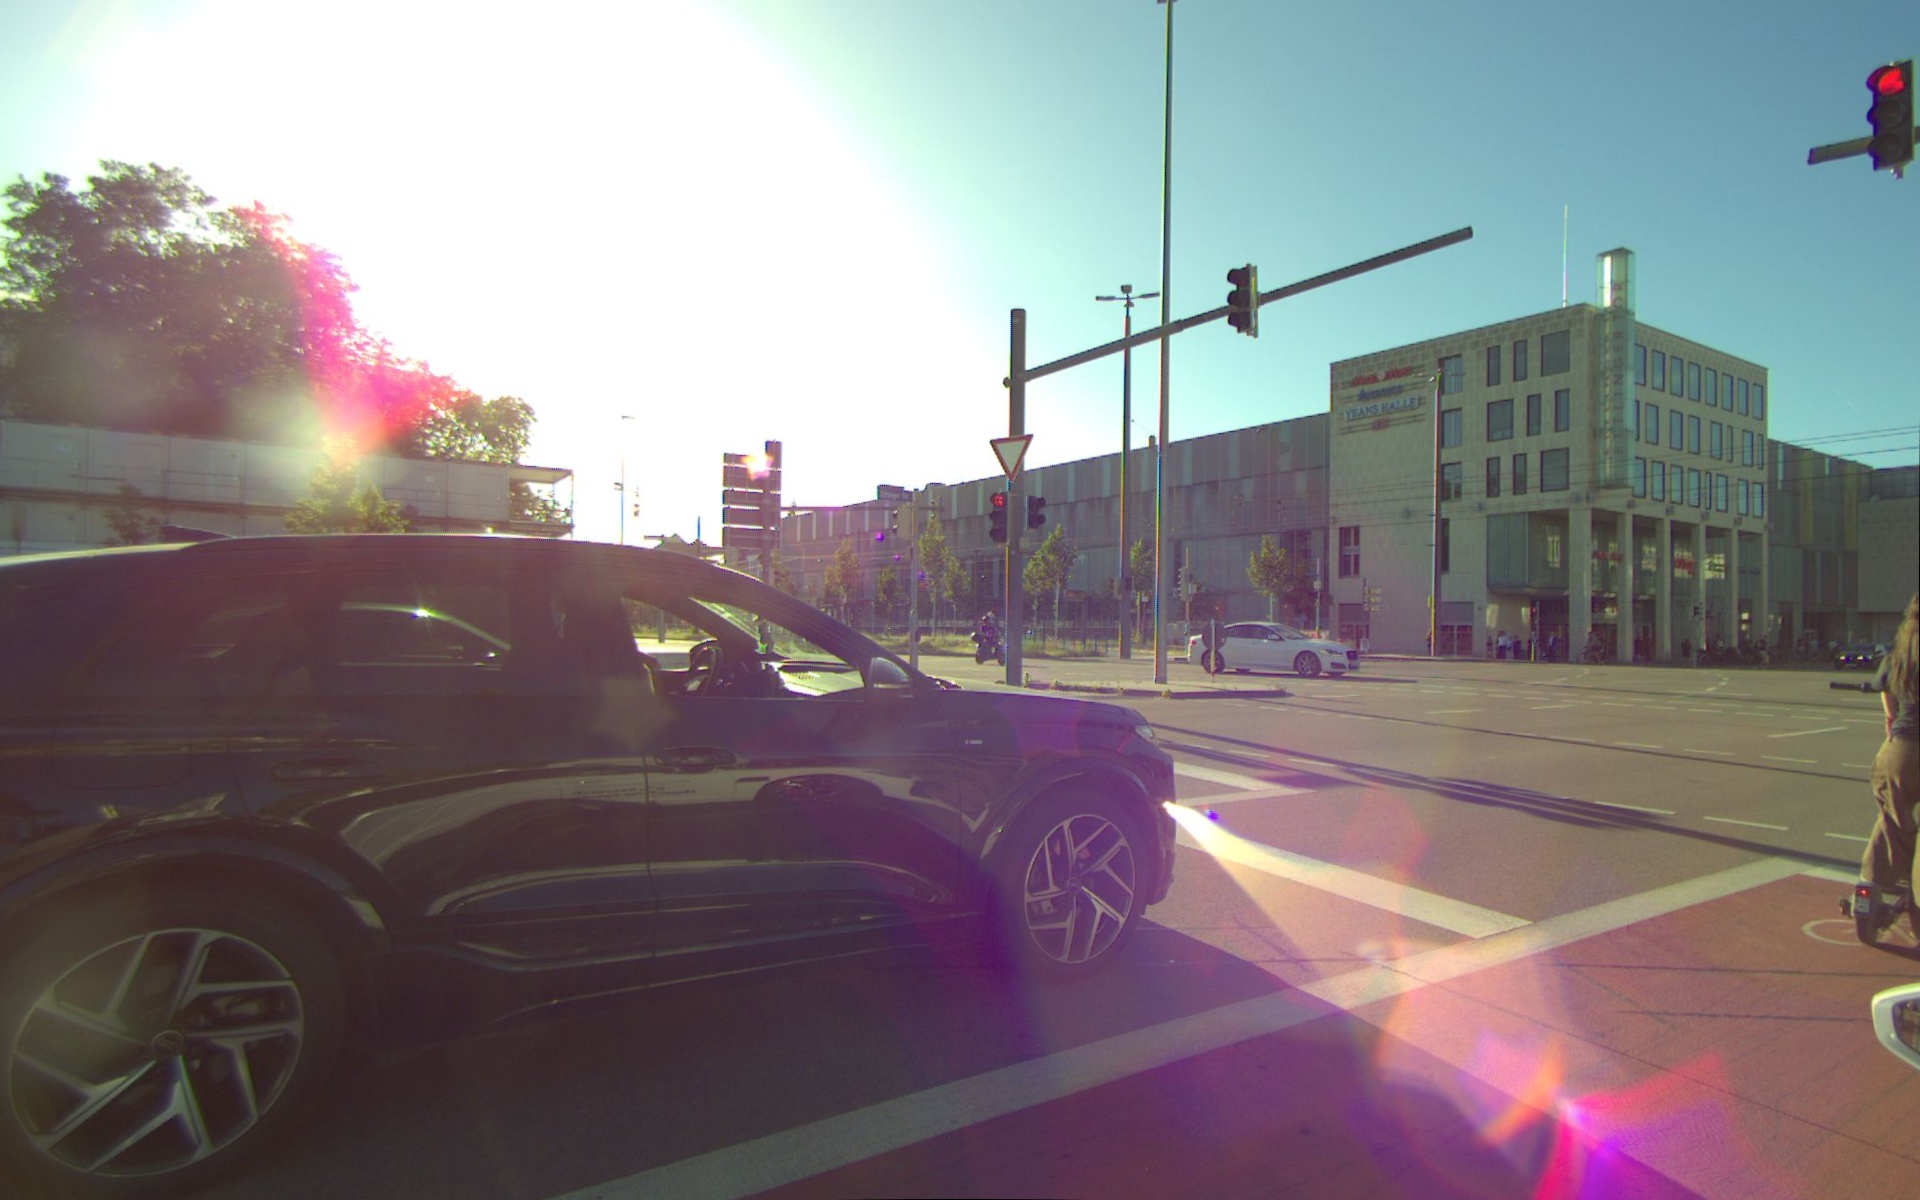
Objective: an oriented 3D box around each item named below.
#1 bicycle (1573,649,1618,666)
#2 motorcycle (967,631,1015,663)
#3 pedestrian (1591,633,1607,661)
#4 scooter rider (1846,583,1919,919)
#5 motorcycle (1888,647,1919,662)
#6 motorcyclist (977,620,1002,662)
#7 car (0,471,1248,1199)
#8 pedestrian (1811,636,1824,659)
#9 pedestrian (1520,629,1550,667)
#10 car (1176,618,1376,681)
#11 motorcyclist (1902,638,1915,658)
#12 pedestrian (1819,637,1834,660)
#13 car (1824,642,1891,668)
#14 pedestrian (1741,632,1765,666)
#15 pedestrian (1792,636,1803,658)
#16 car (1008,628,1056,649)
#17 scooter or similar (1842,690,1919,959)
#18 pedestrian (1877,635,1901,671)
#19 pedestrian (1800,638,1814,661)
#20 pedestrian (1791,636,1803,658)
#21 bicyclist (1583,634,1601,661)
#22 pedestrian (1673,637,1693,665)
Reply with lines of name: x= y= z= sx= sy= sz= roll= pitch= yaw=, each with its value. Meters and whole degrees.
bicycle: x=35.286 y=3.184 z=55.744 sx=2.176 sy=0.915 sz=0.637 roll=1 pitch=-1 yaw=-5
motorcycle: x=1.107 y=1.685 z=36.355 sx=0.643 sy=1.115 sz=1.940 roll=1 pitch=-1 yaw=-37
pedestrian: x=37.849 y=2.787 z=59.469 sx=0.622 sy=1.667 sz=0.589 roll=1 pitch=-1 yaw=-30
scooter rider: x=4.624 y=0.700 z=4.771 sx=0.445 sy=1.550 sz=0.548 roll=1 pitch=-1 yaw=-38
motorcycle: x=70.839 y=4.091 z=74.646 sx=1.106 sy=1.006 sz=2.582 roll=2 pitch=0 yaw=-38
motorcyclist: x=1.070 y=1.491 z=36.397 sx=0.594 sy=1.499 sz=0.744 roll=1 pitch=-1 yaw=-37
car: x=-1.256 y=0.610 z=4.078 sx=4.613 sy=1.729 sz=2.153 roll=1 pitch=0 yaw=-32
pedestrian: x=67.507 y=3.740 z=79.071 sx=0.616 sy=1.752 sz=0.471 roll=2 pitch=0 yaw=-1
pedestrian: x=26.170 y=2.189 z=45.693 sx=0.994 sy=1.697 sz=0.818 roll=1 pitch=-1 yaw=-33
car: x=8.721 y=1.307 z=28.108 sx=1.986 sy=1.585 sz=5.034 roll=2 pitch=-2 yaw=-44
motorcyclist: x=70.803 y=3.566 z=74.982 sx=0.657 sy=1.424 sz=0.623 roll=2 pitch=0 yaw=-38
pedestrian: x=66.475 y=3.699 z=77.062 sx=0.681 sy=1.752 sz=0.472 roll=2 pitch=0 yaw=9
car: x=49.609 y=3.013 z=55.503 sx=3.975 sy=1.375 sz=1.668 roll=1 pitch=-1 yaw=-31
pedestrian: x=44.066 y=2.703 z=55.829 sx=0.529 sy=1.889 sz=0.943 roll=1 pitch=-1 yaw=-13
pedestrian: x=66.776 y=3.723 z=80.090 sx=0.510 sy=1.752 sz=0.472 roll=2 pitch=0 yaw=9
car: x=6.034 y=3.253 z=84.807 sx=1.805 sy=1.706 sz=4.379 roll=1 pitch=-2 yaw=-32
scooter or similar: x=4.425 y=1.011 z=4.733 sx=0.832 sy=1.122 sz=0.303 roll=2 pitch=-1 yaw=-42
pedestrian: x=45.610 y=2.589 z=49.331 sx=0.612 sy=1.710 sz=0.697 roll=1 pitch=-1 yaw=-29
pedestrian: x=65.294 y=3.825 z=77.442 sx=0.615 sy=1.752 sz=0.472 roll=2 pitch=0 yaw=4
pedestrian: x=65.964 y=3.694 z=79.133 sx=0.510 sy=1.752 sz=0.472 roll=2 pitch=0 yaw=9
bicyclist: x=35.122 y=2.640 z=55.852 sx=0.577 sy=1.467 sz=0.628 roll=1 pitch=-1 yaw=-3
pedestrian: x=43.336 y=3.067 z=60.199 sx=0.615 sy=1.660 sz=0.777 roll=1 pitch=-1 yaw=-15
